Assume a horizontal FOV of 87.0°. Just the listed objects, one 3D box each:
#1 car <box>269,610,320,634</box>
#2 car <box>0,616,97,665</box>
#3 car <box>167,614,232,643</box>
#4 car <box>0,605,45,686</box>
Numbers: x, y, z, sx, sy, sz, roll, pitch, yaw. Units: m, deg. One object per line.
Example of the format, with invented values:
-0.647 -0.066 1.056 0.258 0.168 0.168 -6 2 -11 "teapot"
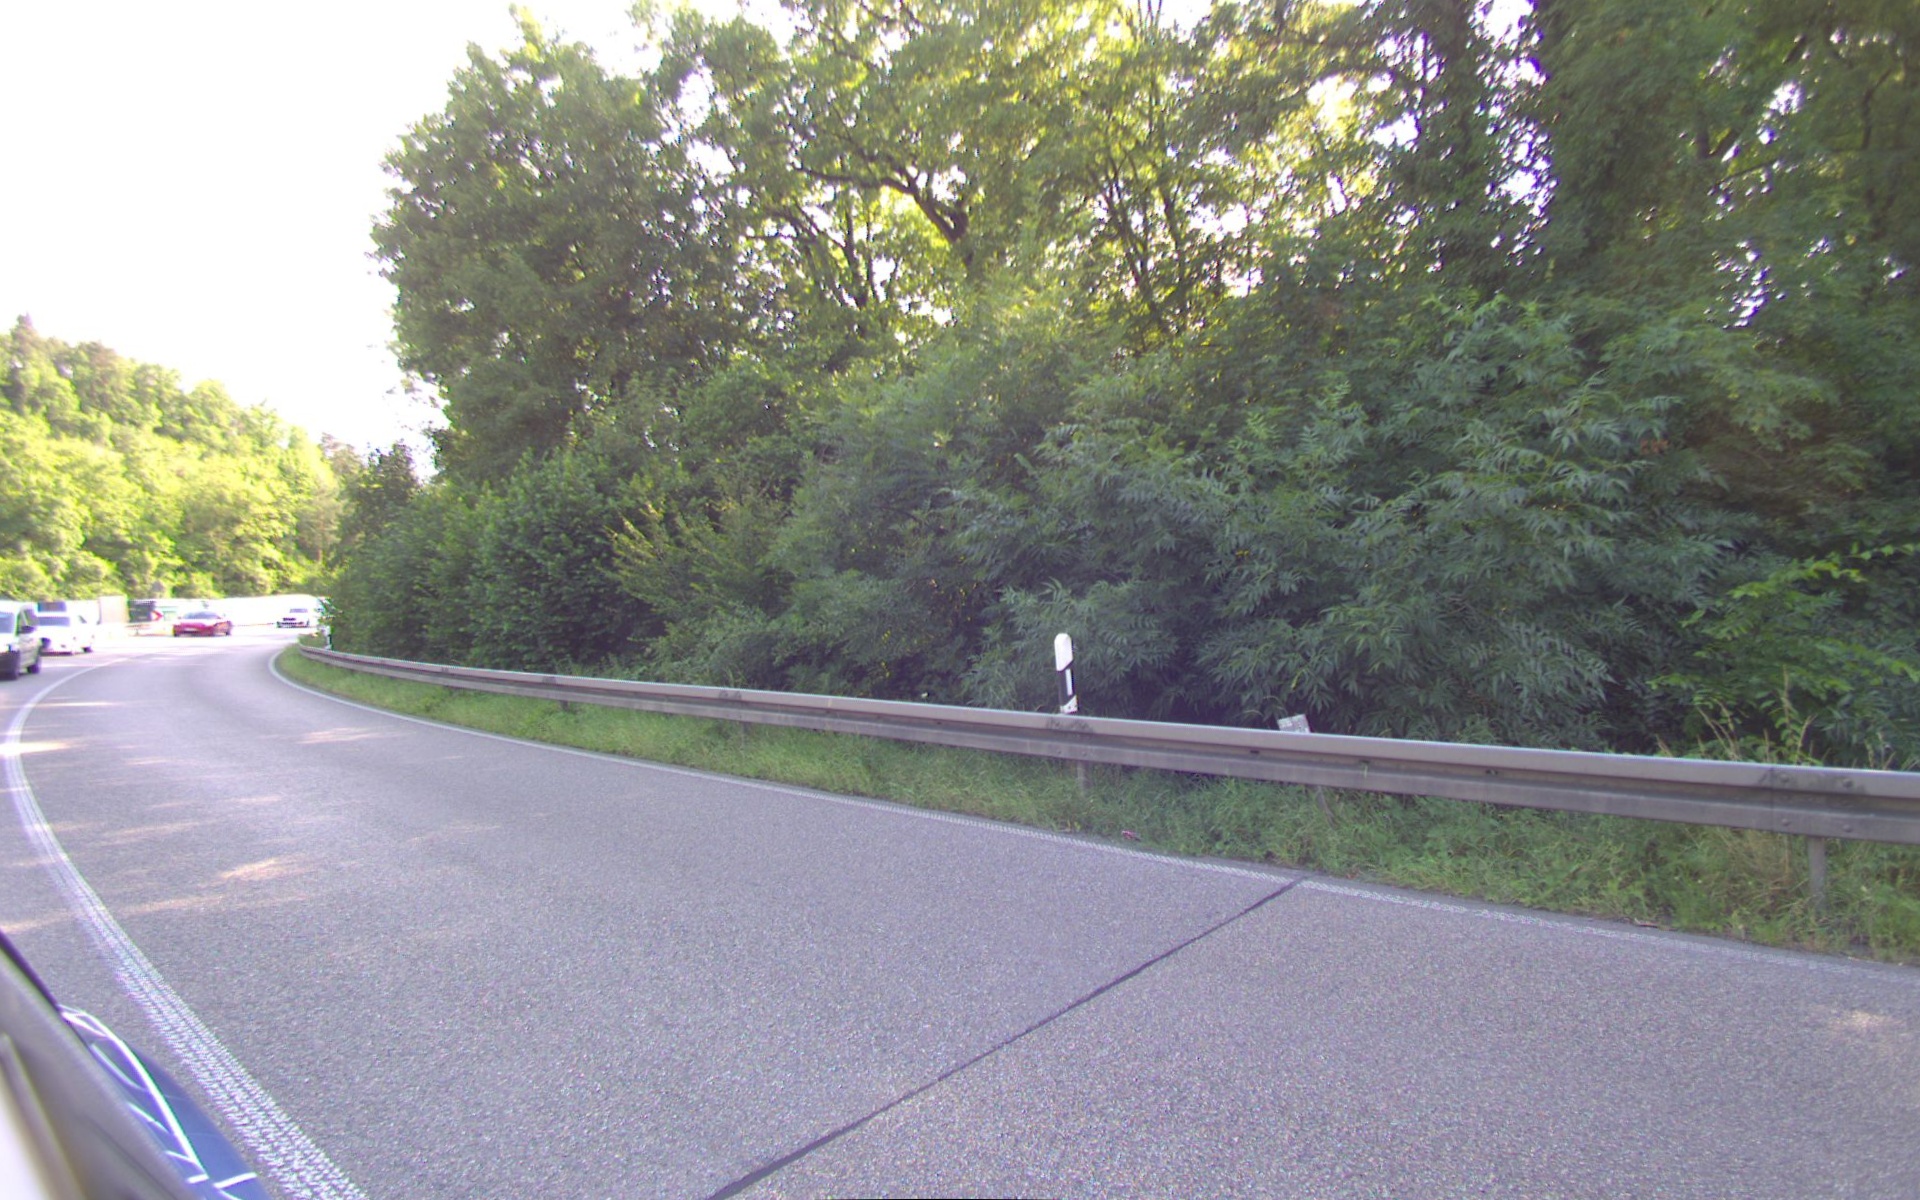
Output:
-46.999 1.529 71.574 1.884 1.476 4.552 -3 1 -19 "car"
-31.447 1.346 34.866 1.866 1.456 4.489 -3 1 -32 "car"
-41.068 1.507 54.764 1.828 1.431 4.434 -1 0 -24 "car"
-22.841 0.987 23.437 1.838 1.733 4.775 0 0 -35 "car"
